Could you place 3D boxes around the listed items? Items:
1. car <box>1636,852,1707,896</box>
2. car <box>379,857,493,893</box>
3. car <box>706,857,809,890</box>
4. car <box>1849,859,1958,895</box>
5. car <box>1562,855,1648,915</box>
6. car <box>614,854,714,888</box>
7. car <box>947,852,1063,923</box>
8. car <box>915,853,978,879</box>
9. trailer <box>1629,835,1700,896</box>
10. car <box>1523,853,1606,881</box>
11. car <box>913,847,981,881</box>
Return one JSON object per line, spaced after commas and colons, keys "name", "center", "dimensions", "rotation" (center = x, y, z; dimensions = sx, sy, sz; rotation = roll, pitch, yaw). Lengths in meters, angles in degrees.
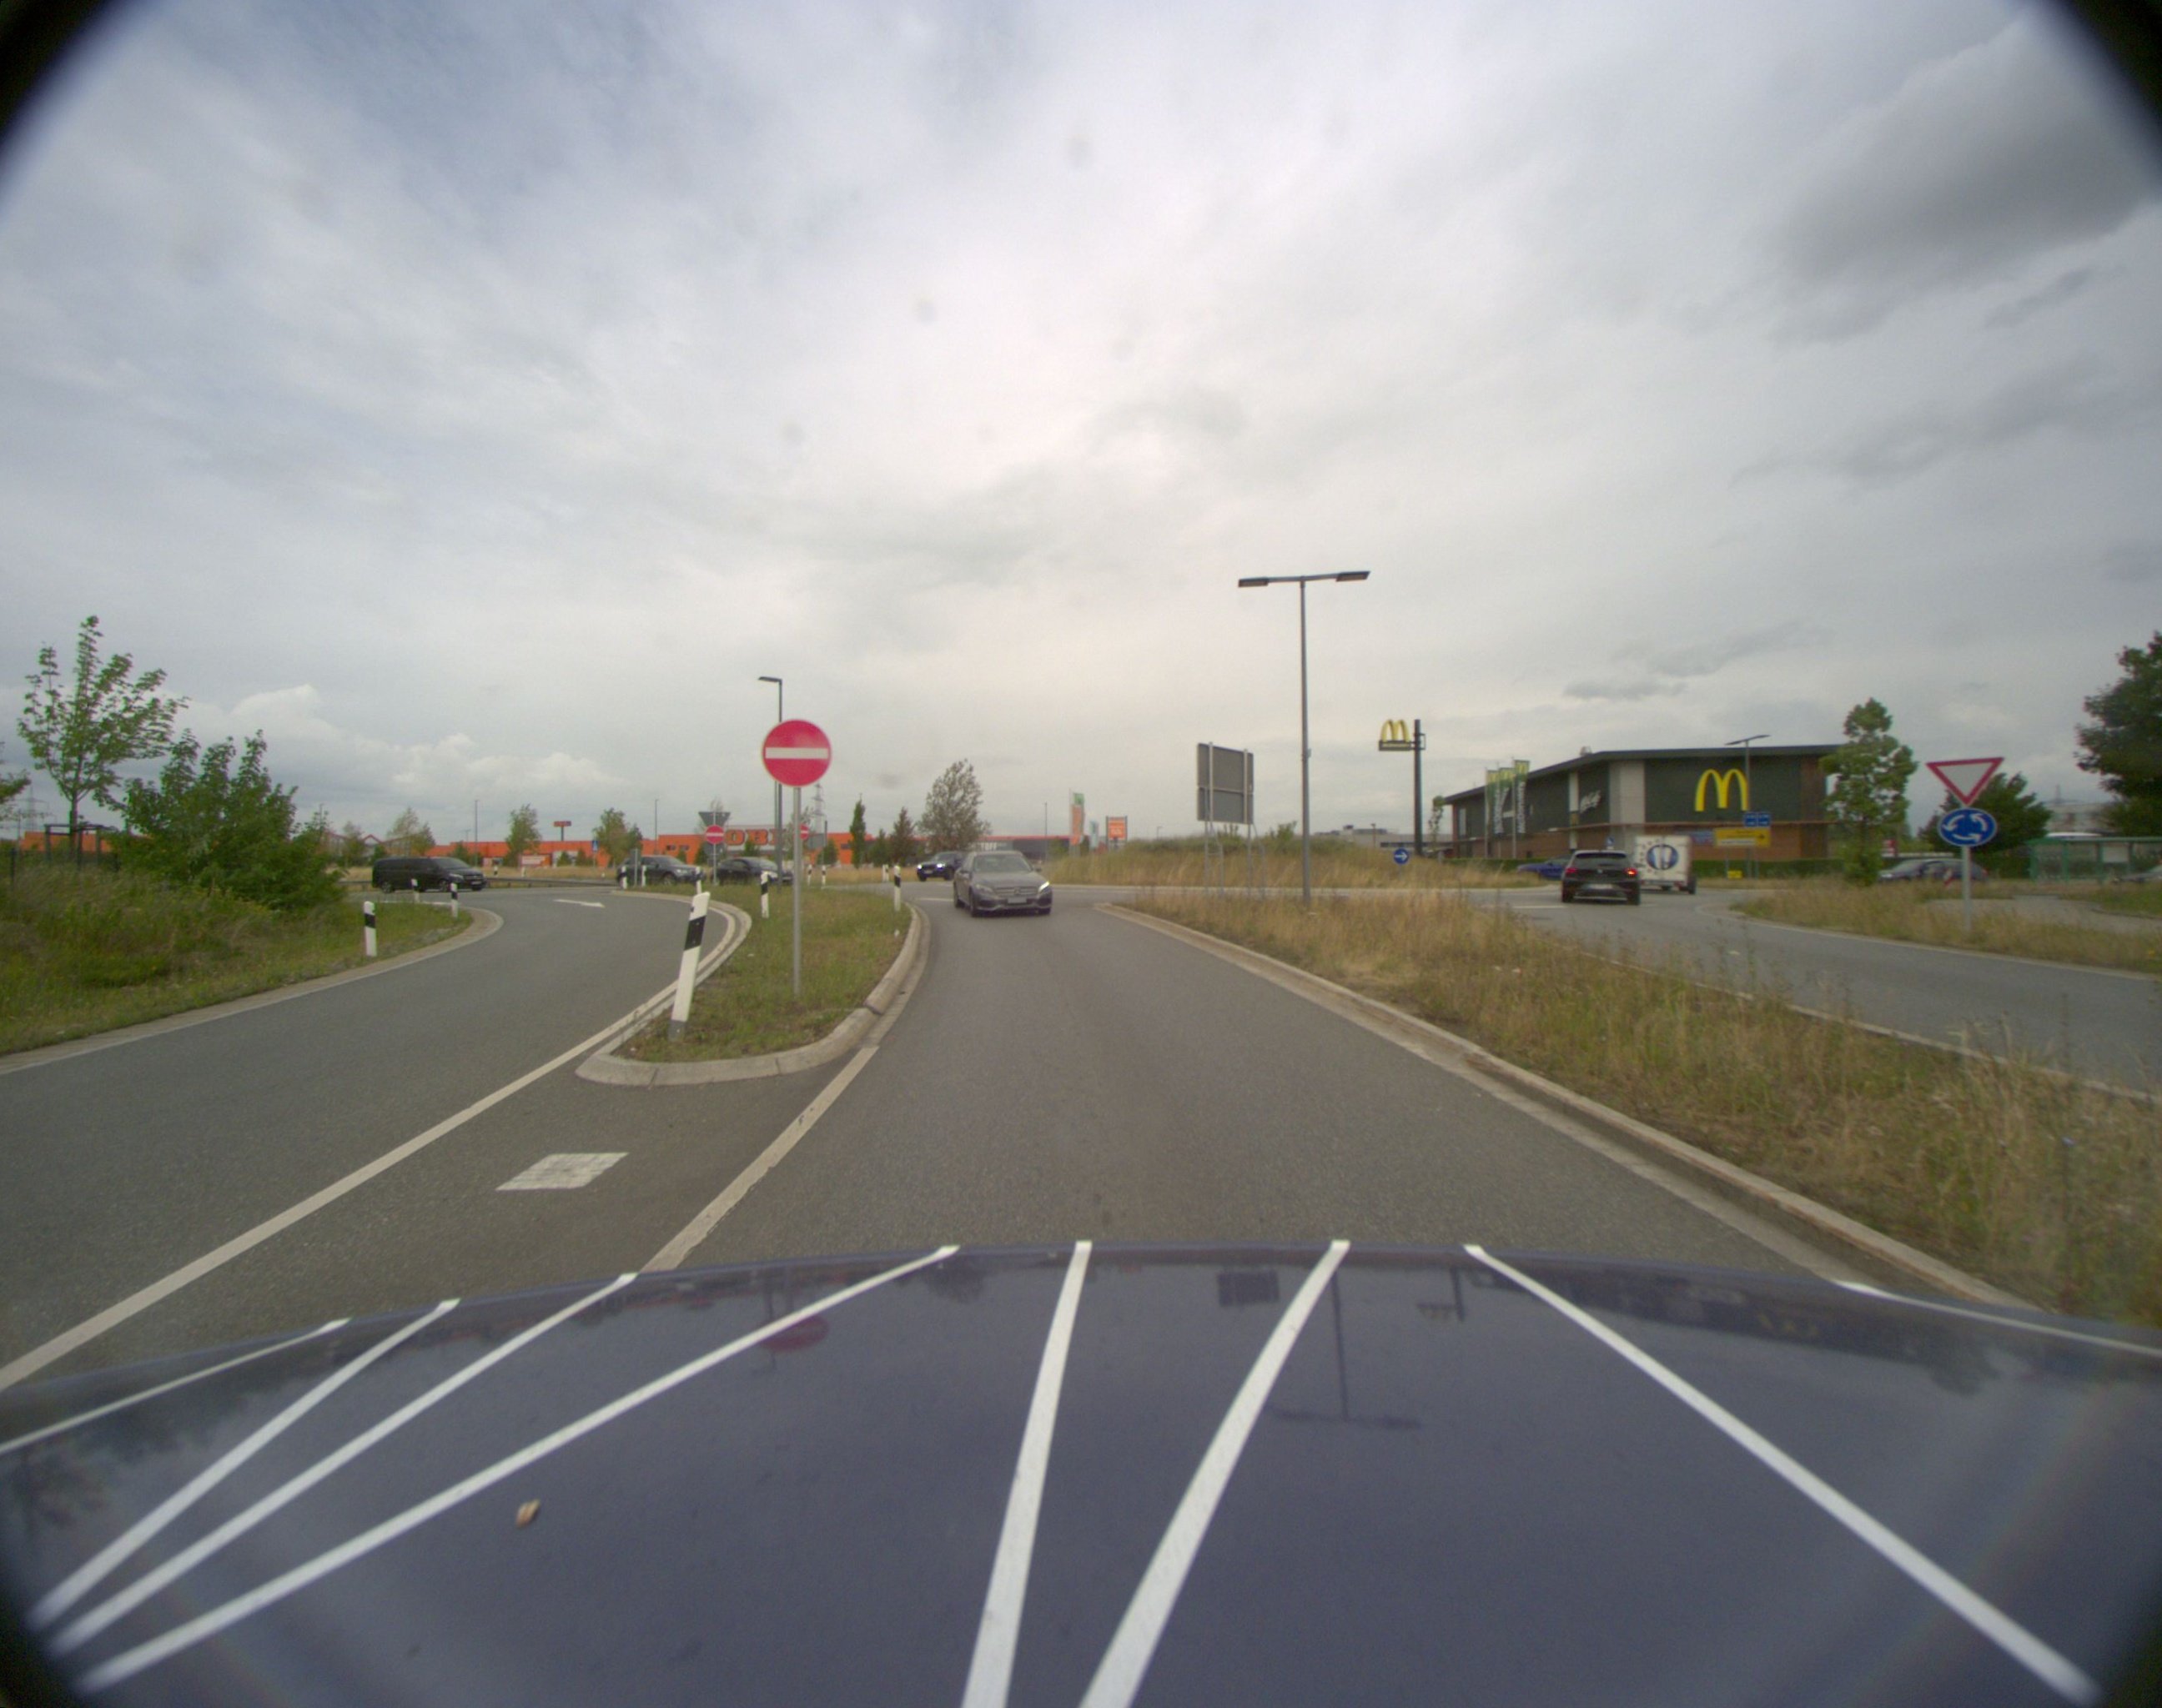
{"name": "car", "center": [24.238, 0.804, 31.142], "dimensions": [1.812, 1.660, 4.626], "rotation": [-1, -1, 44]}
{"name": "car", "center": [-33.461, 1.085, 39.459], "dimensions": [4.739, 1.711, 1.723], "rotation": [-1, 0, 8]}
{"name": "car", "center": [-14.344, 0.876, 33.692], "dimensions": [4.134, 1.362, 1.847], "rotation": [-1, 0, 25]}
{"name": "car", "center": [41.170, 1.129, 38.065], "dimensions": [4.020, 1.649, 1.894], "rotation": [-1, 0, -12]}
{"name": "car", "center": [14.186, 0.766, 20.723], "dimensions": [1.641, 1.451, 3.775], "rotation": [0, 1, 30]}
{"name": "car", "center": [-20.651, 0.827, 37.667], "dimensions": [4.267, 1.573, 1.886], "rotation": [-1, 0, 18]}
{"name": "car", "center": [-1.977, 0.730, 18.436], "dimensions": [1.909, 1.488, 4.332], "rotation": [0, 0, -18]}
{"name": "car", "center": [-8.971, 0.804, 50.677], "dimensions": [4.002, 1.648, 1.998], "rotation": [-1, -1, -14]}
{"name": "trailer", "center": [21.534, 0.409, 27.984], "dimensions": [1.807, 2.079, 4.155], "rotation": [0, 0, 41]}
{"name": "car", "center": [27.498, 0.740, 43.271], "dimensions": [3.804, 1.541, 1.766], "rotation": [-2, -1, 40]}
{"name": "car", "center": [-7.423, 0.579, 42.509], "dimensions": [1.840, 1.709, 4.006], "rotation": [-4, -2, 20]}
